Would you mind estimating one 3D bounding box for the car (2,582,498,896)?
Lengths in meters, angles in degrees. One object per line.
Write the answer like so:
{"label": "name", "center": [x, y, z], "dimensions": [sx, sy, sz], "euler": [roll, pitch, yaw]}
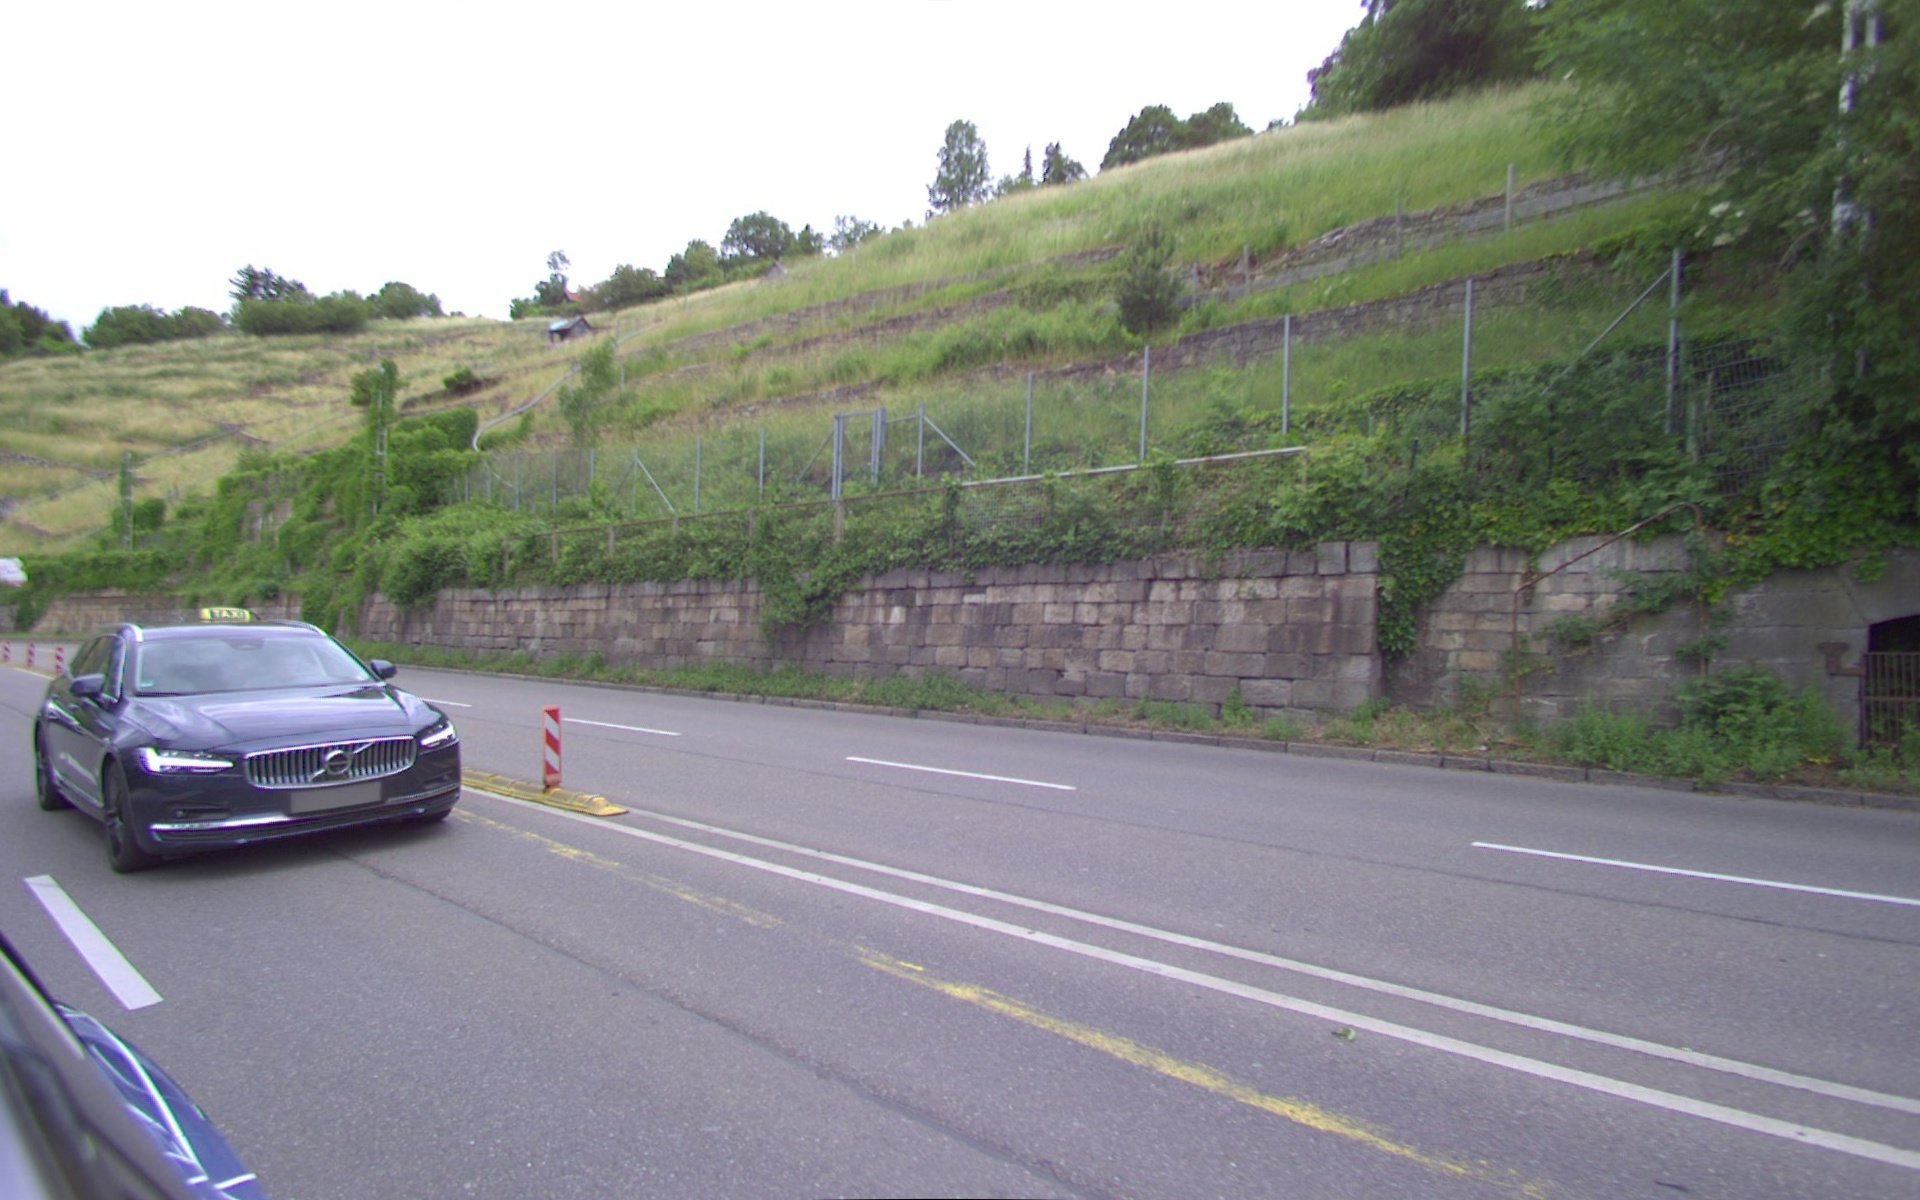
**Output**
{"label": "car", "center": [-5.544, 0.734, 7.574], "dimensions": [5.025, 1.588, 1.914], "euler": [-1, 1, 42]}
